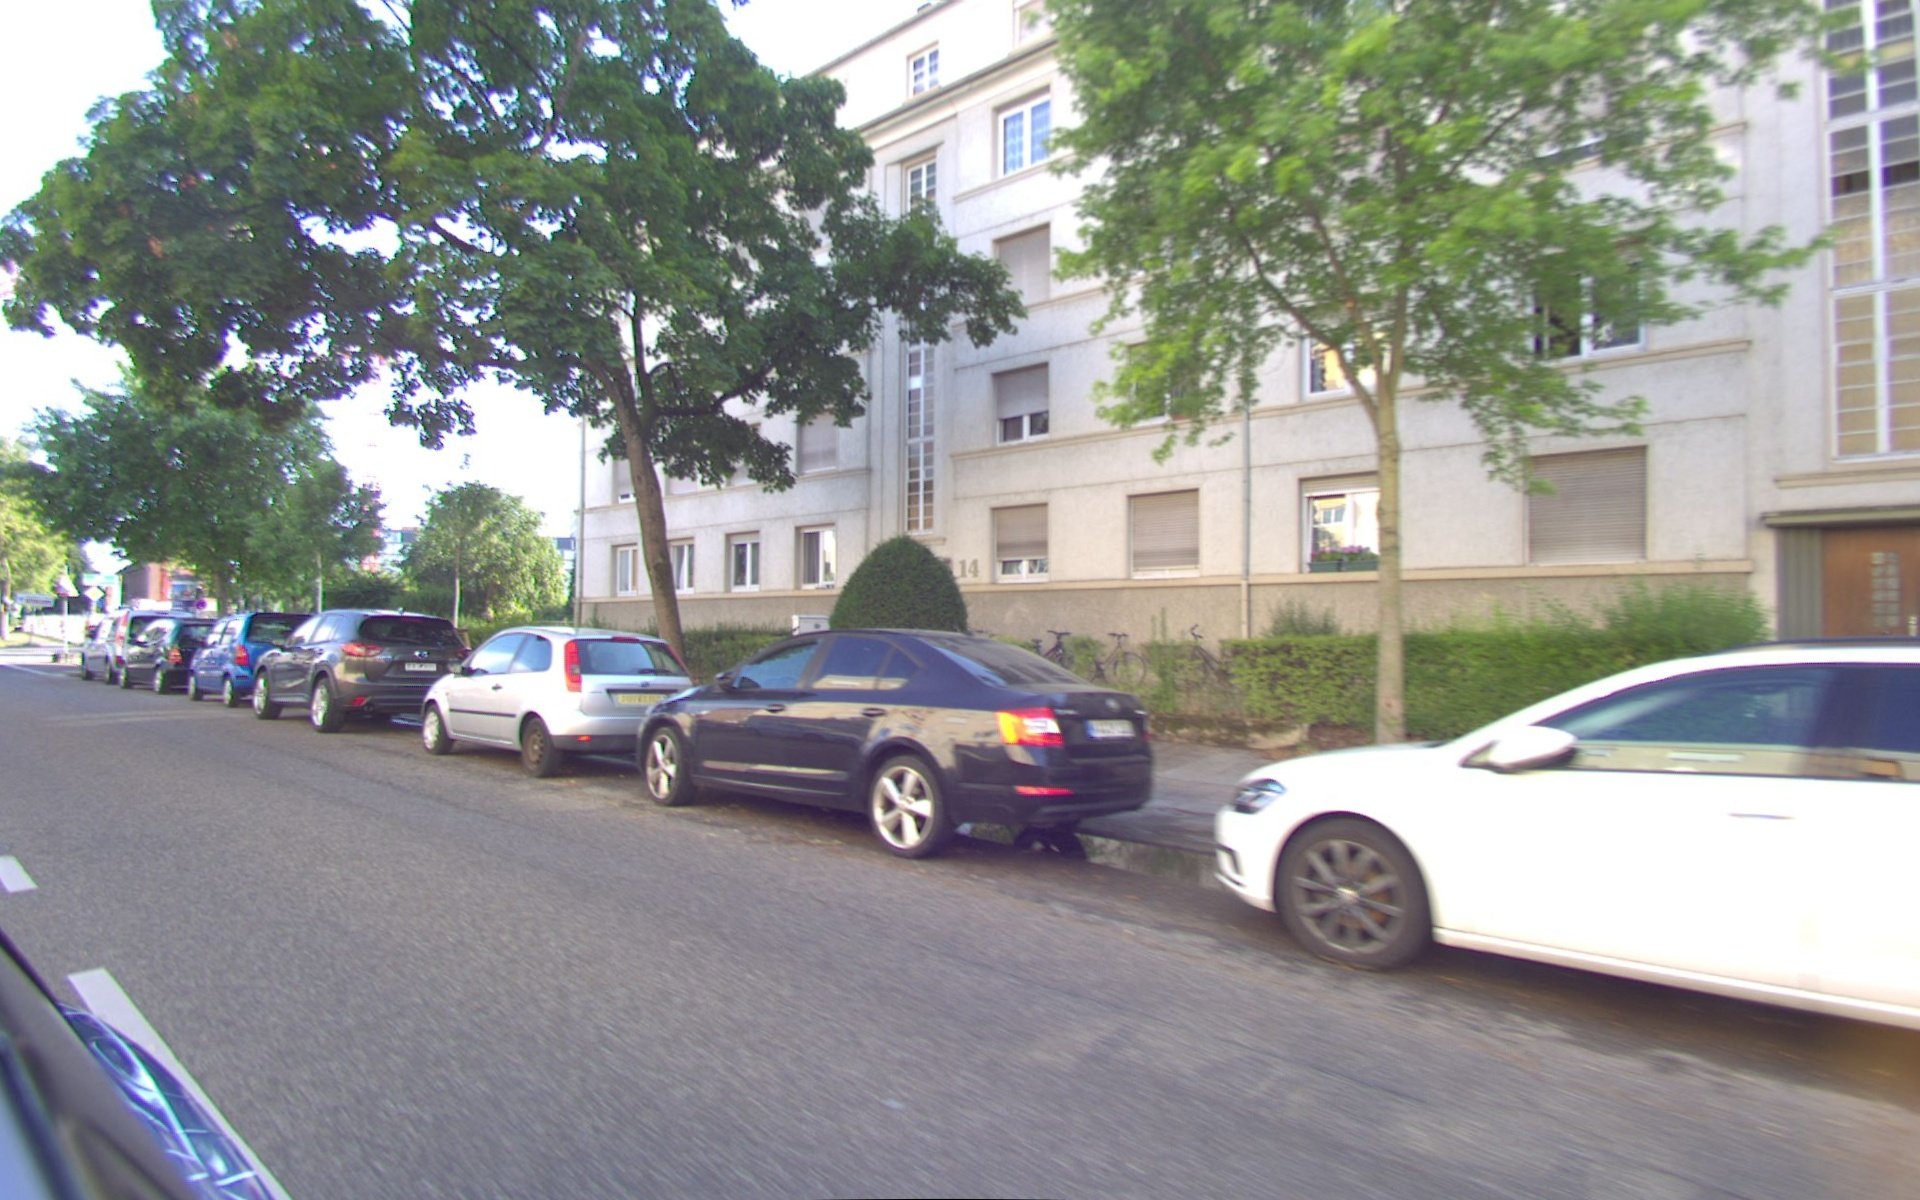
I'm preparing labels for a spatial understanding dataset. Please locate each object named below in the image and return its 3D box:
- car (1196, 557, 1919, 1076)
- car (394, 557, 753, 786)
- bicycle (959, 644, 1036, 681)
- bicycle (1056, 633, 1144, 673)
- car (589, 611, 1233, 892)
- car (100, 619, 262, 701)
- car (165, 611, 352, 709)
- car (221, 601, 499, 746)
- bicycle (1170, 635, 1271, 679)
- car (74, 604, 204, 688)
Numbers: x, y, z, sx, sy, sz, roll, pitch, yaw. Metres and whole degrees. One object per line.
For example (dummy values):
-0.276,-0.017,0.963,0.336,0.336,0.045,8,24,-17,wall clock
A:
3.431,0.730,3.955,4.473,1.564,1.982,0,-5,44,car
-4.322,0.684,11.069,3.998,2.029,1.972,0,-3,41,car
0.799,1.340,22.004,1.787,0.714,0.404,0,1,40,bicycle
2.768,1.033,20.110,1.787,0.714,0.404,0,1,40,bicycle
-0.613,0.859,7.575,4.799,1.445,1.854,0,-3,40,car
-16.837,1.249,21.821,3.996,1.564,1.855,0,-4,39,car
-13.175,1.021,18.922,3.996,1.563,1.855,0,1,40,car
-8.731,0.969,14.572,4.685,1.772,1.855,0,-5,39,car
4.720,1.028,18.410,1.787,0.714,0.404,0,1,40,bicycle
-20.505,1.084,25.222,4.486,1.911,1.821,0,-2,42,car
